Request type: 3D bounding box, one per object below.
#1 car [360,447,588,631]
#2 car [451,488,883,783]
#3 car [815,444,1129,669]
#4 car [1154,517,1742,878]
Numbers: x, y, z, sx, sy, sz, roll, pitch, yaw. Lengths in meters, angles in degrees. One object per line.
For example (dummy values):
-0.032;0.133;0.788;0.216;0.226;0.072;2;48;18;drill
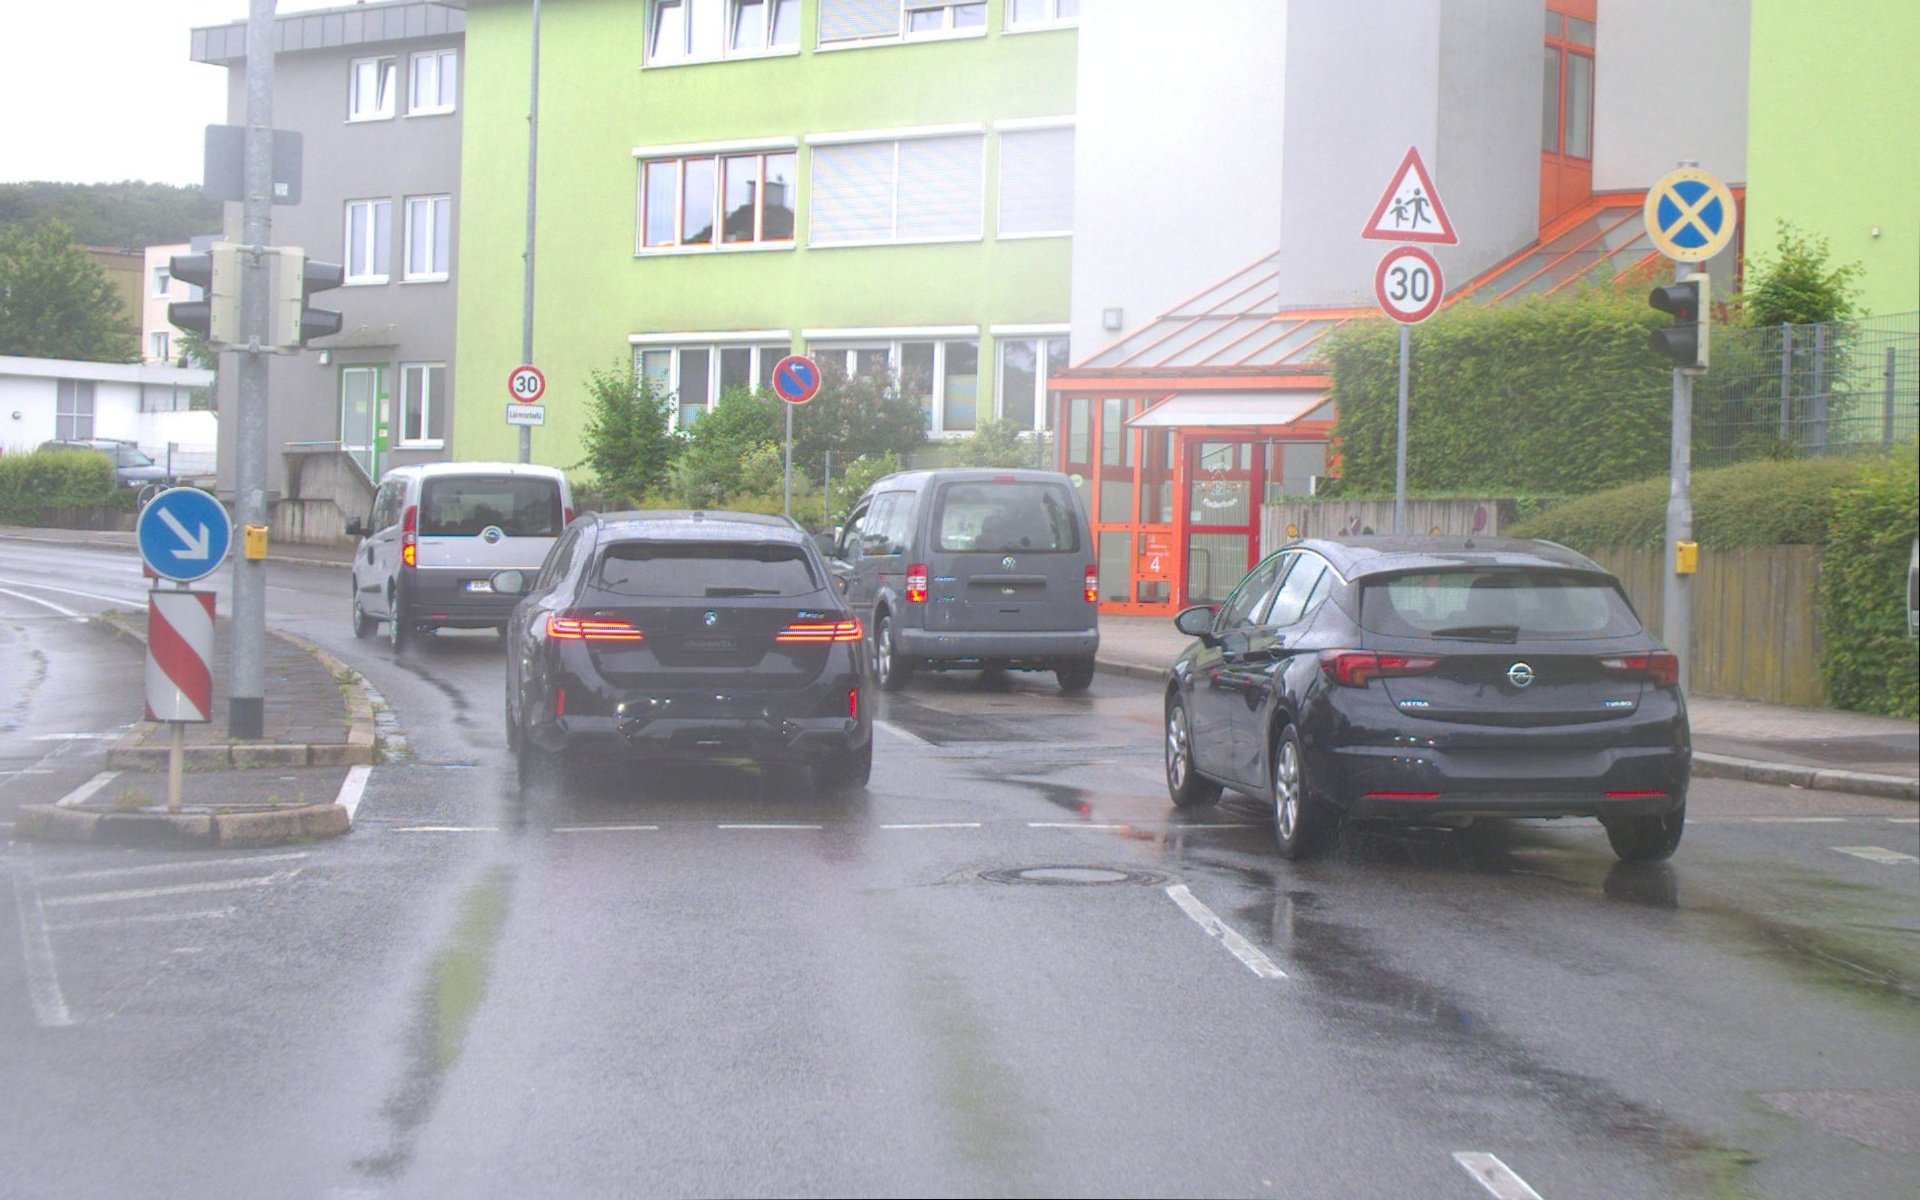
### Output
-4.971;-0.601;34.743;1.993;1.731;4.001;1;1;-12;car
-1.767;0.164;19.427;1.993;1.479;4.001;1;1;-11;car
0.018;-0.362;29.219;1.838;1.761;4.001;1;1;-12;car
2.184;0.373;16.537;1.756;1.444;4.001;1;2;-8;car
